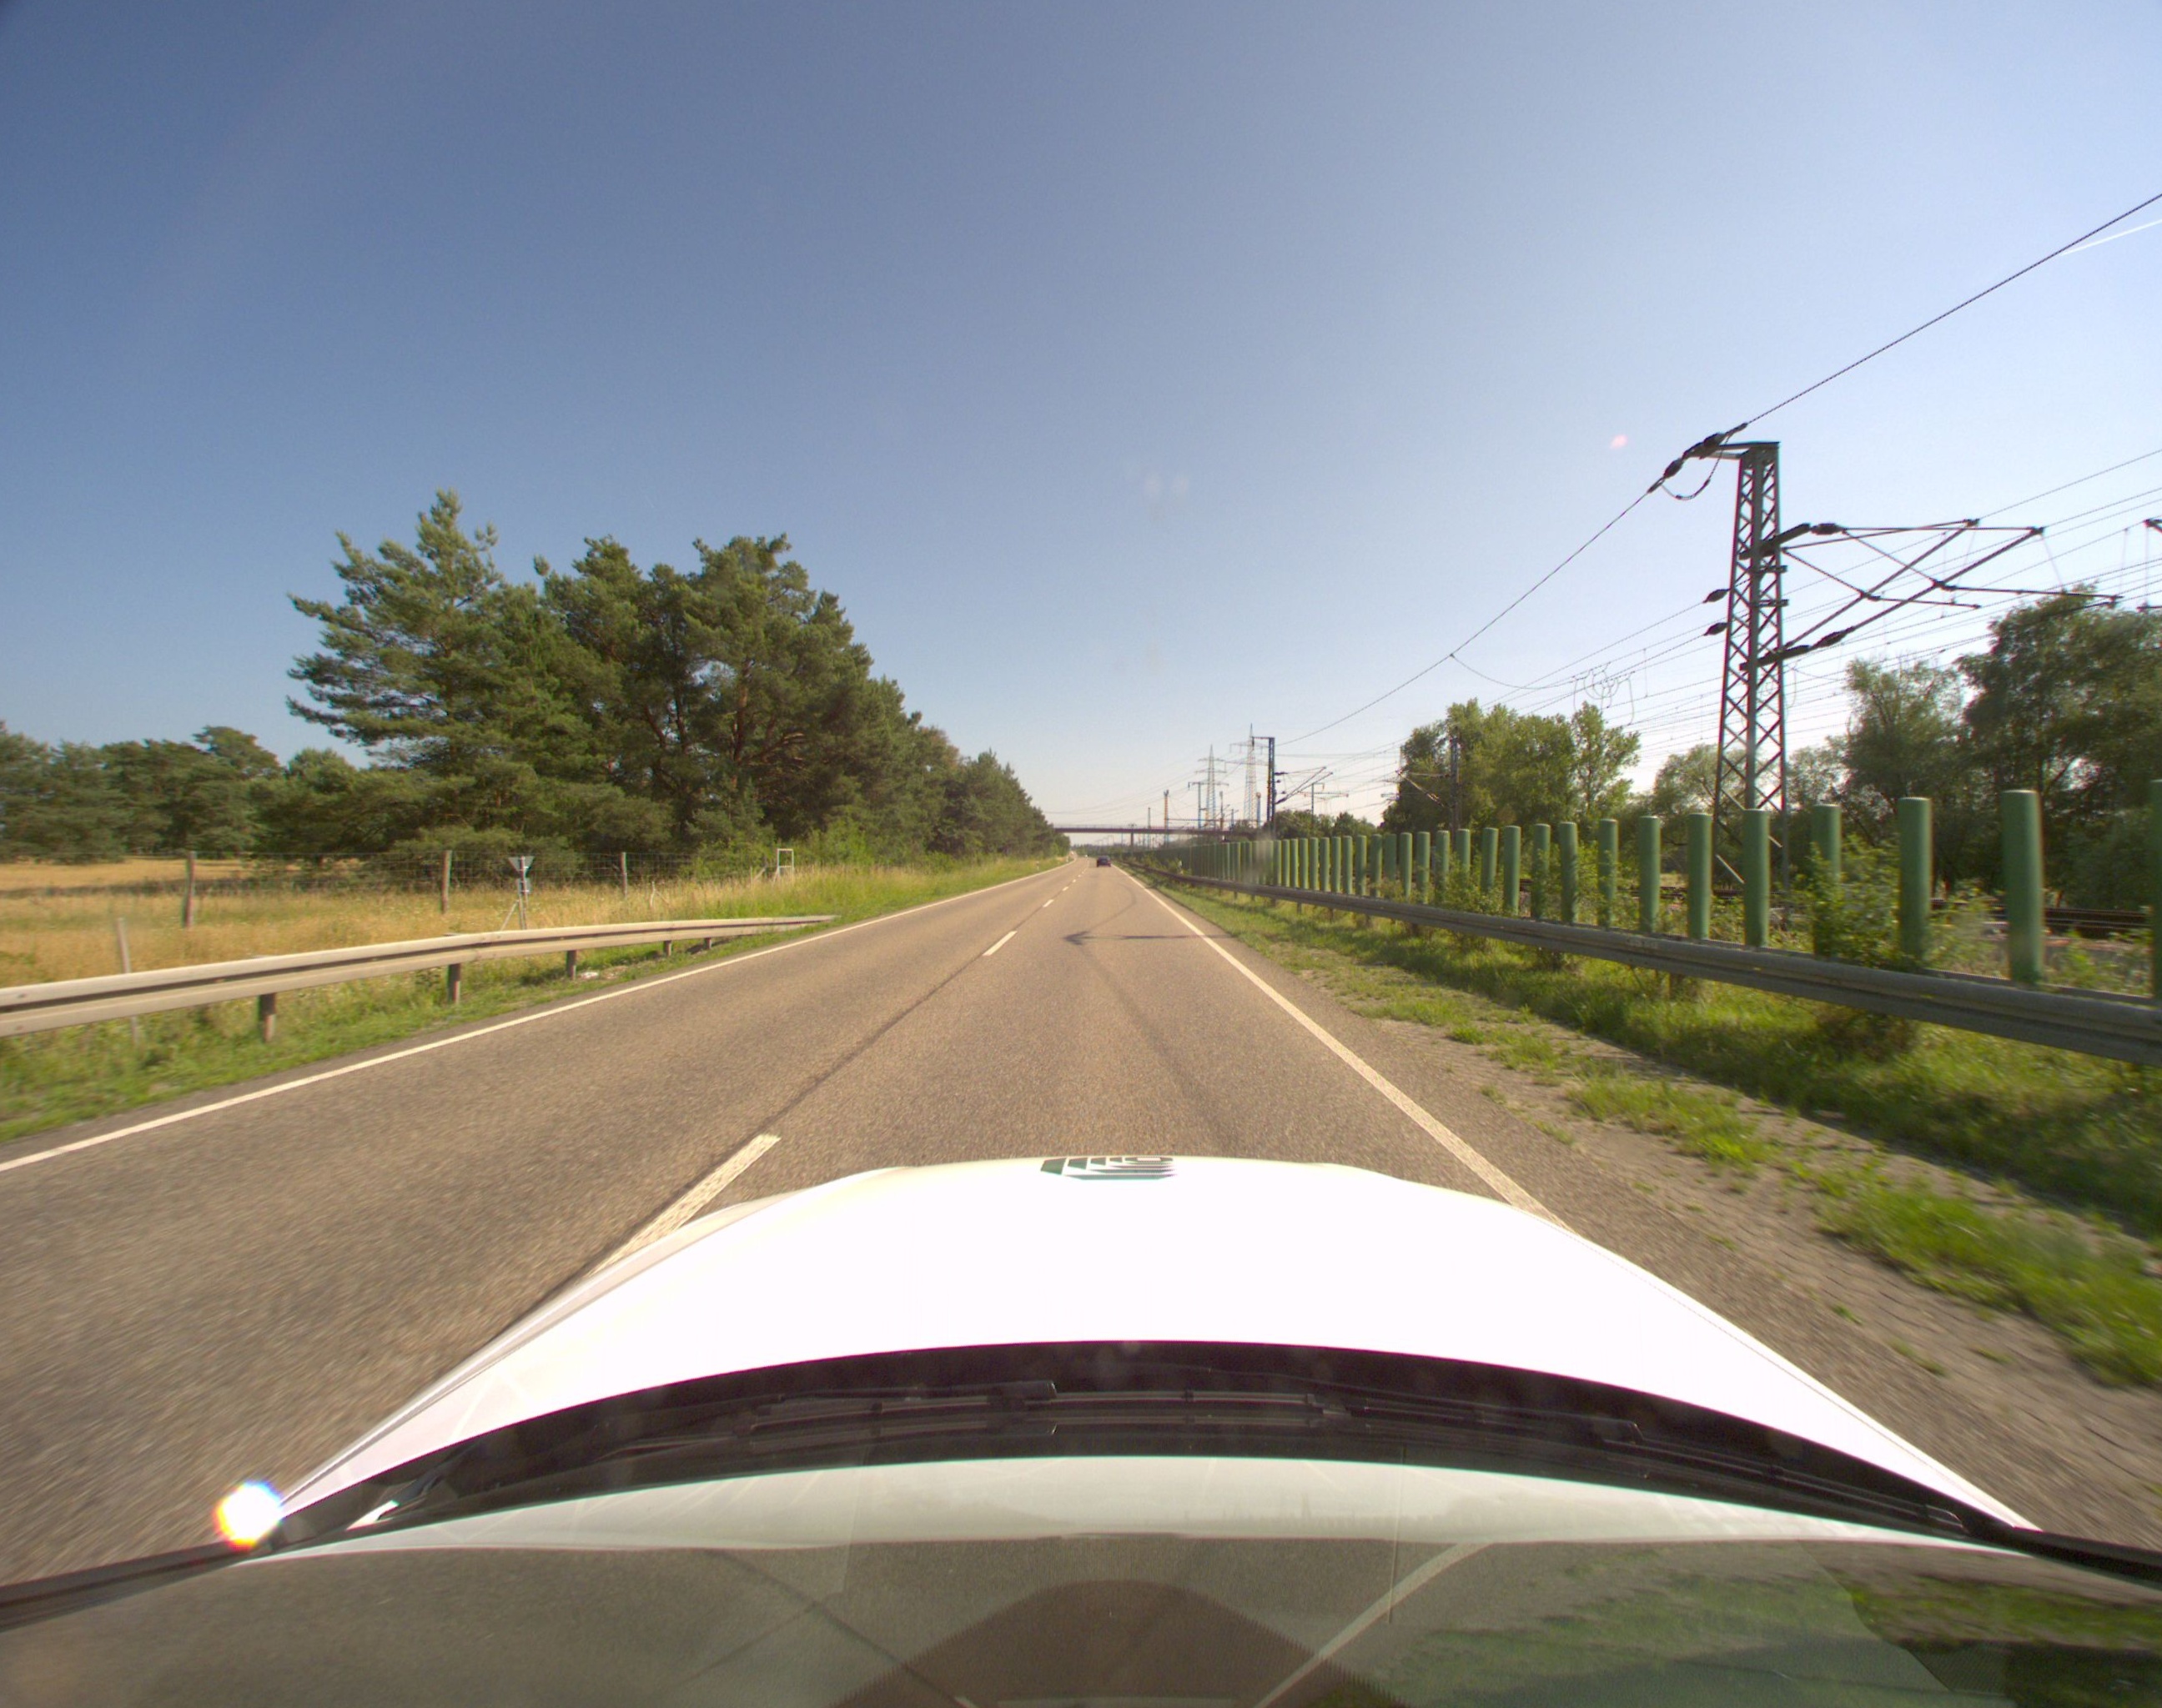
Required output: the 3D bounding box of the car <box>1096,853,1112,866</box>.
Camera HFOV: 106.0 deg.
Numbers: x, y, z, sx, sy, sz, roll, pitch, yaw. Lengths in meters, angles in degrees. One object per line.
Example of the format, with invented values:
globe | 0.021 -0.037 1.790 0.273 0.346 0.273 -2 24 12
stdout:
car | 2.973 0.683 105.518 1.853 1.642 3.999 -2 0 -1
